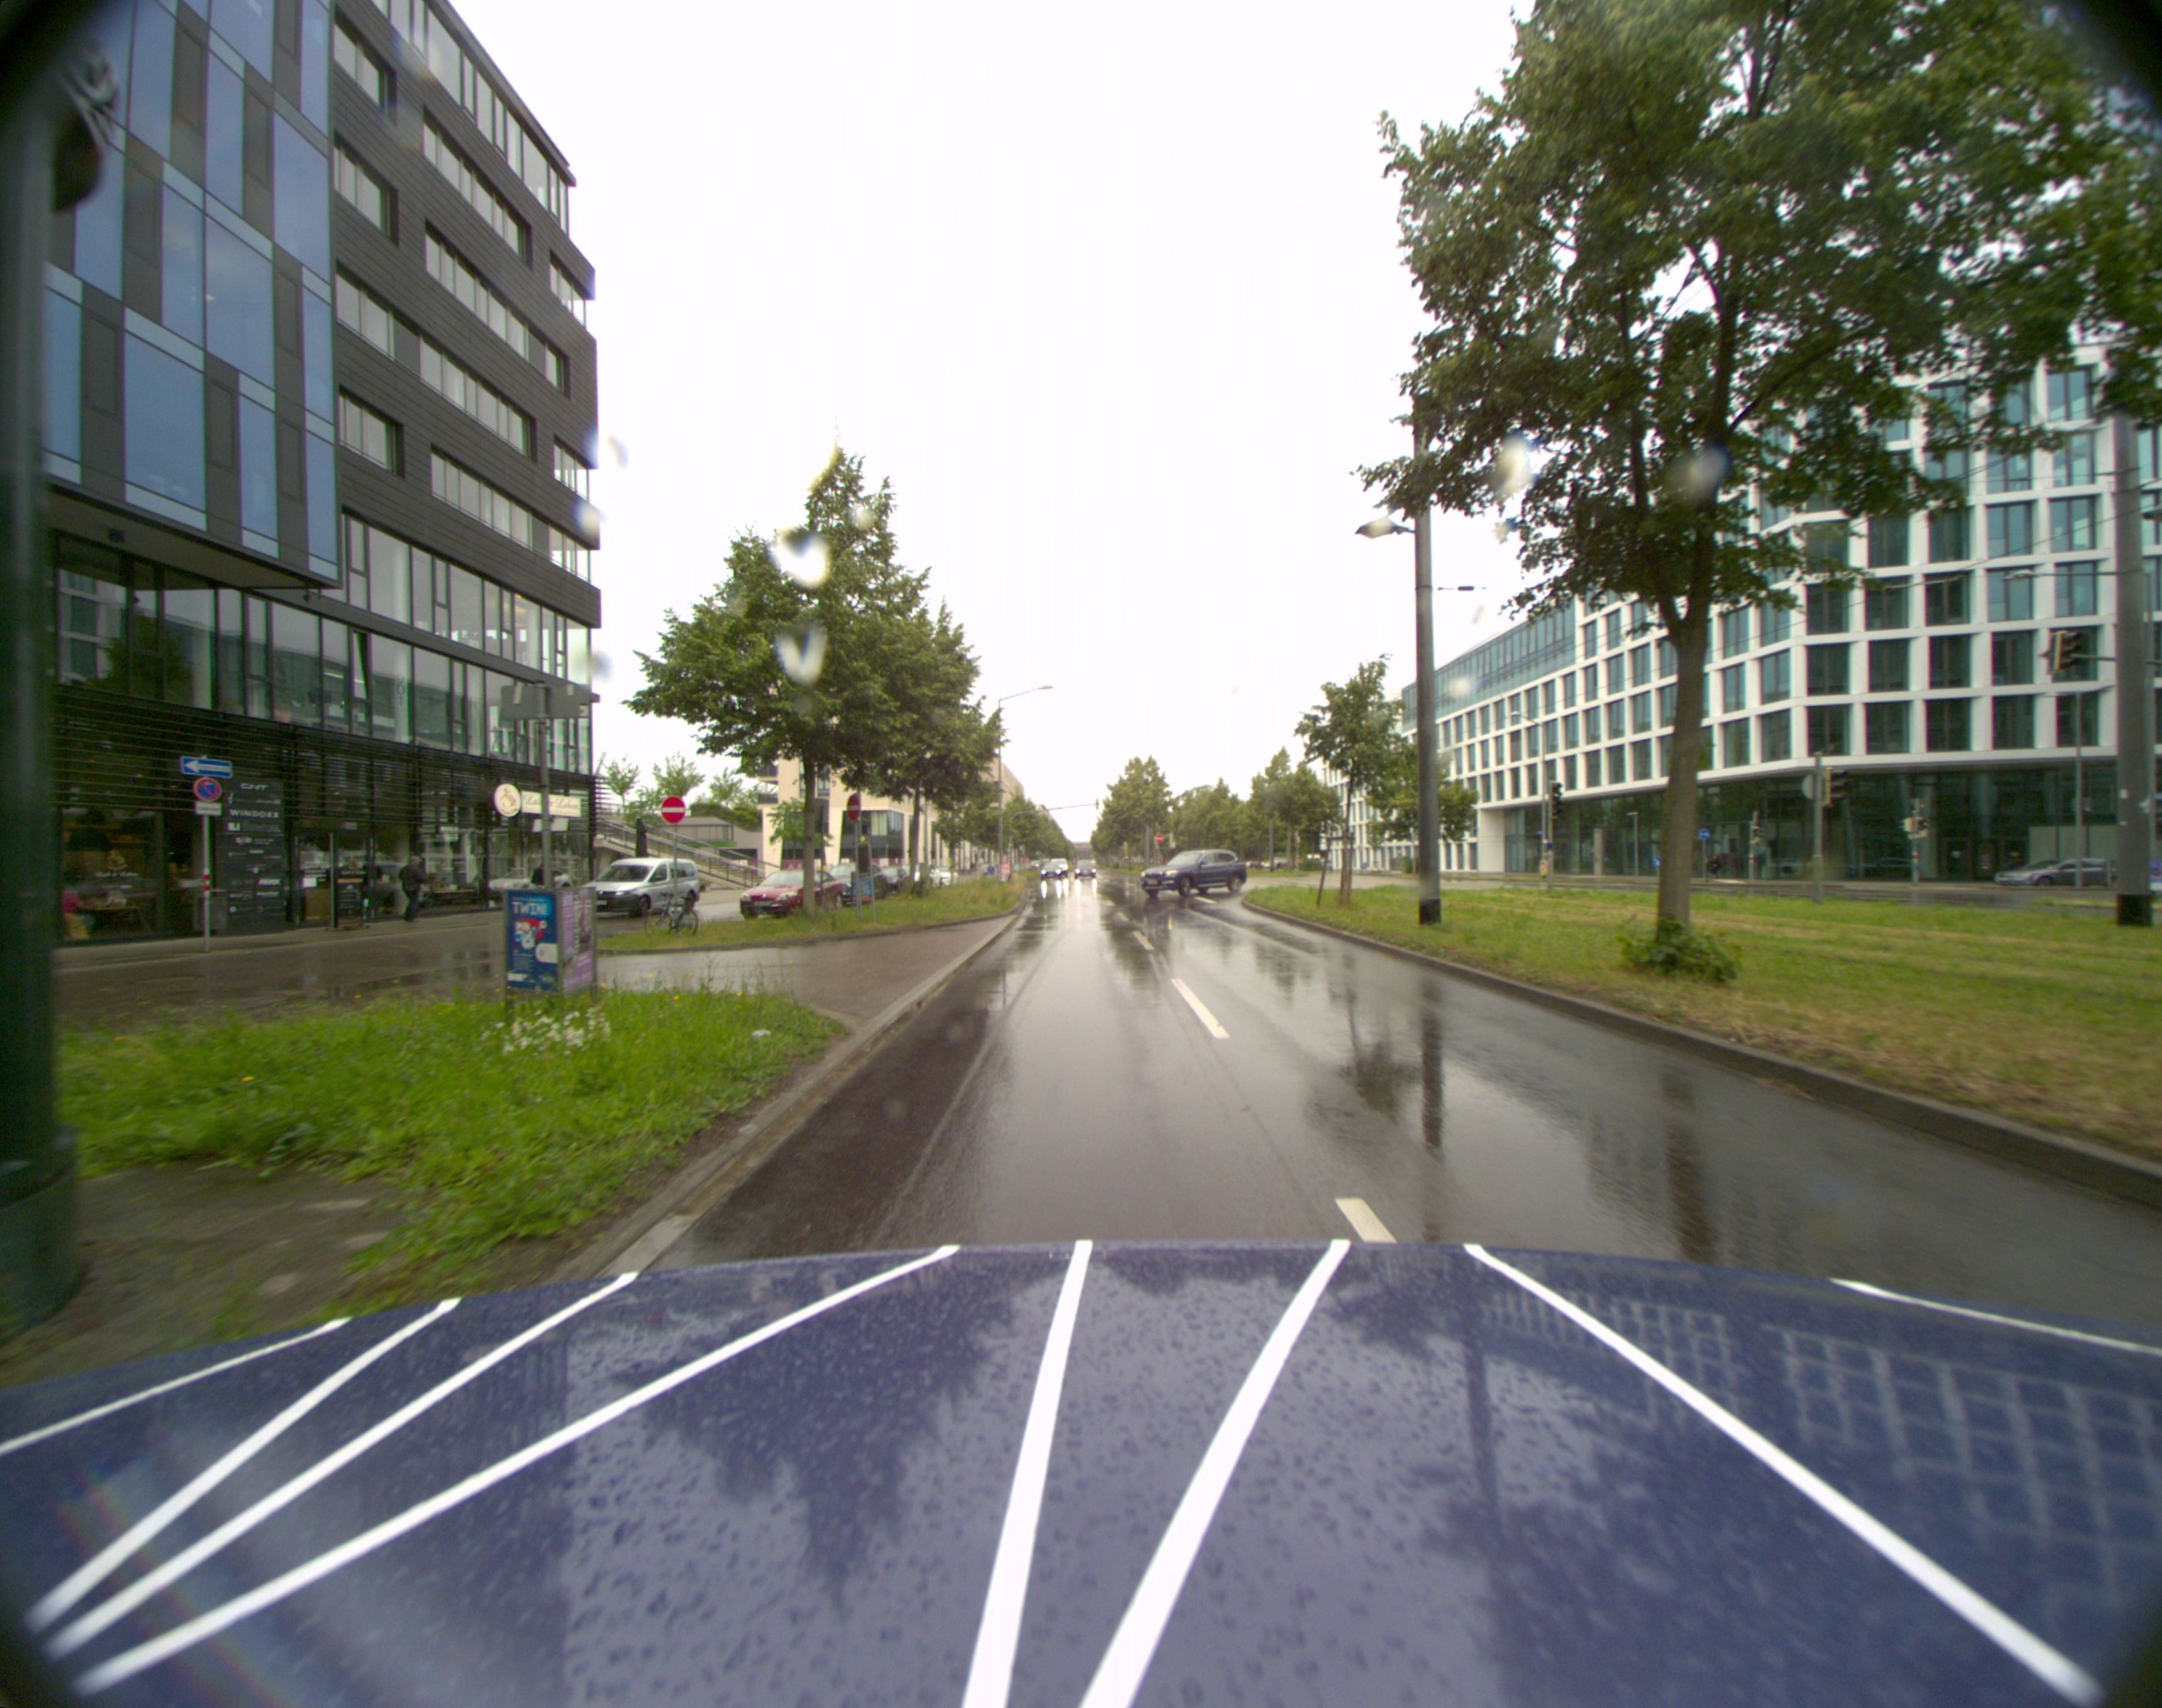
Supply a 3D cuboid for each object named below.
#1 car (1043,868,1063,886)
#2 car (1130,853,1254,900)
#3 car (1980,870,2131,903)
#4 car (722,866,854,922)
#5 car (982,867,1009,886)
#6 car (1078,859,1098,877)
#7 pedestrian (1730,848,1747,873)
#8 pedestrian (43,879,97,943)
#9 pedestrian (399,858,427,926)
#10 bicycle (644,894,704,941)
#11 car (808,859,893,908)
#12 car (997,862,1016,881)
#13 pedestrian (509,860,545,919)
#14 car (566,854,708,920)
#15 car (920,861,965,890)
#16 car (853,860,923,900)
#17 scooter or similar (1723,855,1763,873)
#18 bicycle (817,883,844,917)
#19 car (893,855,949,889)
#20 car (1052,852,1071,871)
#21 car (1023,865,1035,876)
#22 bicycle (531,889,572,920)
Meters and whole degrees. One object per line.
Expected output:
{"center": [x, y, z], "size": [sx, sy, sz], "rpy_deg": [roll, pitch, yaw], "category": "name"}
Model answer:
{"center": [-2.437, 2.043, 67.086], "size": [1.687, 1.520, 3.970], "rpy_deg": [-1, -2, -1], "category": "car"}
{"center": [4.306, 0.798, 29.138], "size": [4.725, 1.650, 1.924], "rpy_deg": [0, 0, -37], "category": "car"}
{"center": [45.470, 1.506, 35.547], "size": [4.088, 1.427, 1.890], "rpy_deg": [-1, -2, 10], "category": "car"}
{"center": [-8.712, 1.123, 23.118], "size": [1.998, 1.446, 4.960], "rpy_deg": [-1, 0, 1], "category": "car"}
{"center": [-7.908, 2.098, 70.587], "size": [1.999, 1.697, 4.840], "rpy_deg": [-1, -2, 0], "category": "car"}
{"center": [0.592, 1.236, 65.665], "size": [1.657, 1.520, 3.776], "rpy_deg": [-1, -2, -1], "category": "car"}
{"center": [43.269, 0.425, 49.997], "size": [0.634, 1.634, 0.546], "rpy_deg": [-1, 2, 2], "category": "pedestrian"}
{"center": [-19.997, 1.114, 15.037], "size": [0.448, 1.229, 0.583], "rpy_deg": [-3, -2, 42], "category": "pedestrian"}
{"center": [-18.234, 1.039, 20.751], "size": [0.508, 1.821, 0.575], "rpy_deg": [0, -2, -36], "category": "pedestrian"}
{"center": [-8.319, 1.277, 15.517], "size": [1.458, 0.911, 0.434], "rpy_deg": [-2, -2, 33], "category": "bicycle"}
{"center": [-8.706, 1.122, 29.083], "size": [1.999, 1.697, 4.219], "rpy_deg": [-1, -2, 0], "category": "car"}
{"center": [-8.015, 1.945, 82.269], "size": [1.916, 2.001, 4.000], "rpy_deg": [-1, -2, -4], "category": "car"}
{"center": [-16.387, 1.045, 22.486], "size": [0.627, 1.694, 0.657], "rpy_deg": [-1, -2, -5], "category": "pedestrian"}
{"center": [-13.952, 0.977, 24.257], "size": [1.898, 1.855, 4.723], "rpy_deg": [-1, -1, -2], "category": "car"}
{"center": [-8.811, 1.392, 48.765], "size": [1.999, 1.697, 4.840], "rpy_deg": [-1, -2, 0], "category": "car"}
{"center": [-8.797, 1.198, 35.044], "size": [1.999, 1.697, 4.725], "rpy_deg": [-1, -2, 0], "category": "car"}
{"center": [43.654, 0.649, 50.130], "size": [2.161, 1.145, 0.550], "rpy_deg": [-1, -2, -1], "category": "scooter or similar"}
{"center": [-6.695, 1.212, 20.371], "size": [0.575, 0.856, 1.913], "rpy_deg": [-1, -2, -15], "category": "bicycle"}
{"center": [-8.502, 0.985, 40.756], "size": [1.999, 1.697, 4.840], "rpy_deg": [-1, -2, 0], "category": "car"}
{"center": [-2.036, 0.816, 80.695], "size": [1.757, 1.913, 4.002], "rpy_deg": [-1, -2, 1], "category": "car"}
{"center": [-7.743, 2.500, 113.395], "size": [1.643, 1.578, 3.930], "rpy_deg": [-1, -2, -4], "category": "car"}
{"center": [-15.853, 1.493, 22.781], "size": [0.437, 0.892, 1.232], "rpy_deg": [-1, -2, -4], "category": "bicycle"}
